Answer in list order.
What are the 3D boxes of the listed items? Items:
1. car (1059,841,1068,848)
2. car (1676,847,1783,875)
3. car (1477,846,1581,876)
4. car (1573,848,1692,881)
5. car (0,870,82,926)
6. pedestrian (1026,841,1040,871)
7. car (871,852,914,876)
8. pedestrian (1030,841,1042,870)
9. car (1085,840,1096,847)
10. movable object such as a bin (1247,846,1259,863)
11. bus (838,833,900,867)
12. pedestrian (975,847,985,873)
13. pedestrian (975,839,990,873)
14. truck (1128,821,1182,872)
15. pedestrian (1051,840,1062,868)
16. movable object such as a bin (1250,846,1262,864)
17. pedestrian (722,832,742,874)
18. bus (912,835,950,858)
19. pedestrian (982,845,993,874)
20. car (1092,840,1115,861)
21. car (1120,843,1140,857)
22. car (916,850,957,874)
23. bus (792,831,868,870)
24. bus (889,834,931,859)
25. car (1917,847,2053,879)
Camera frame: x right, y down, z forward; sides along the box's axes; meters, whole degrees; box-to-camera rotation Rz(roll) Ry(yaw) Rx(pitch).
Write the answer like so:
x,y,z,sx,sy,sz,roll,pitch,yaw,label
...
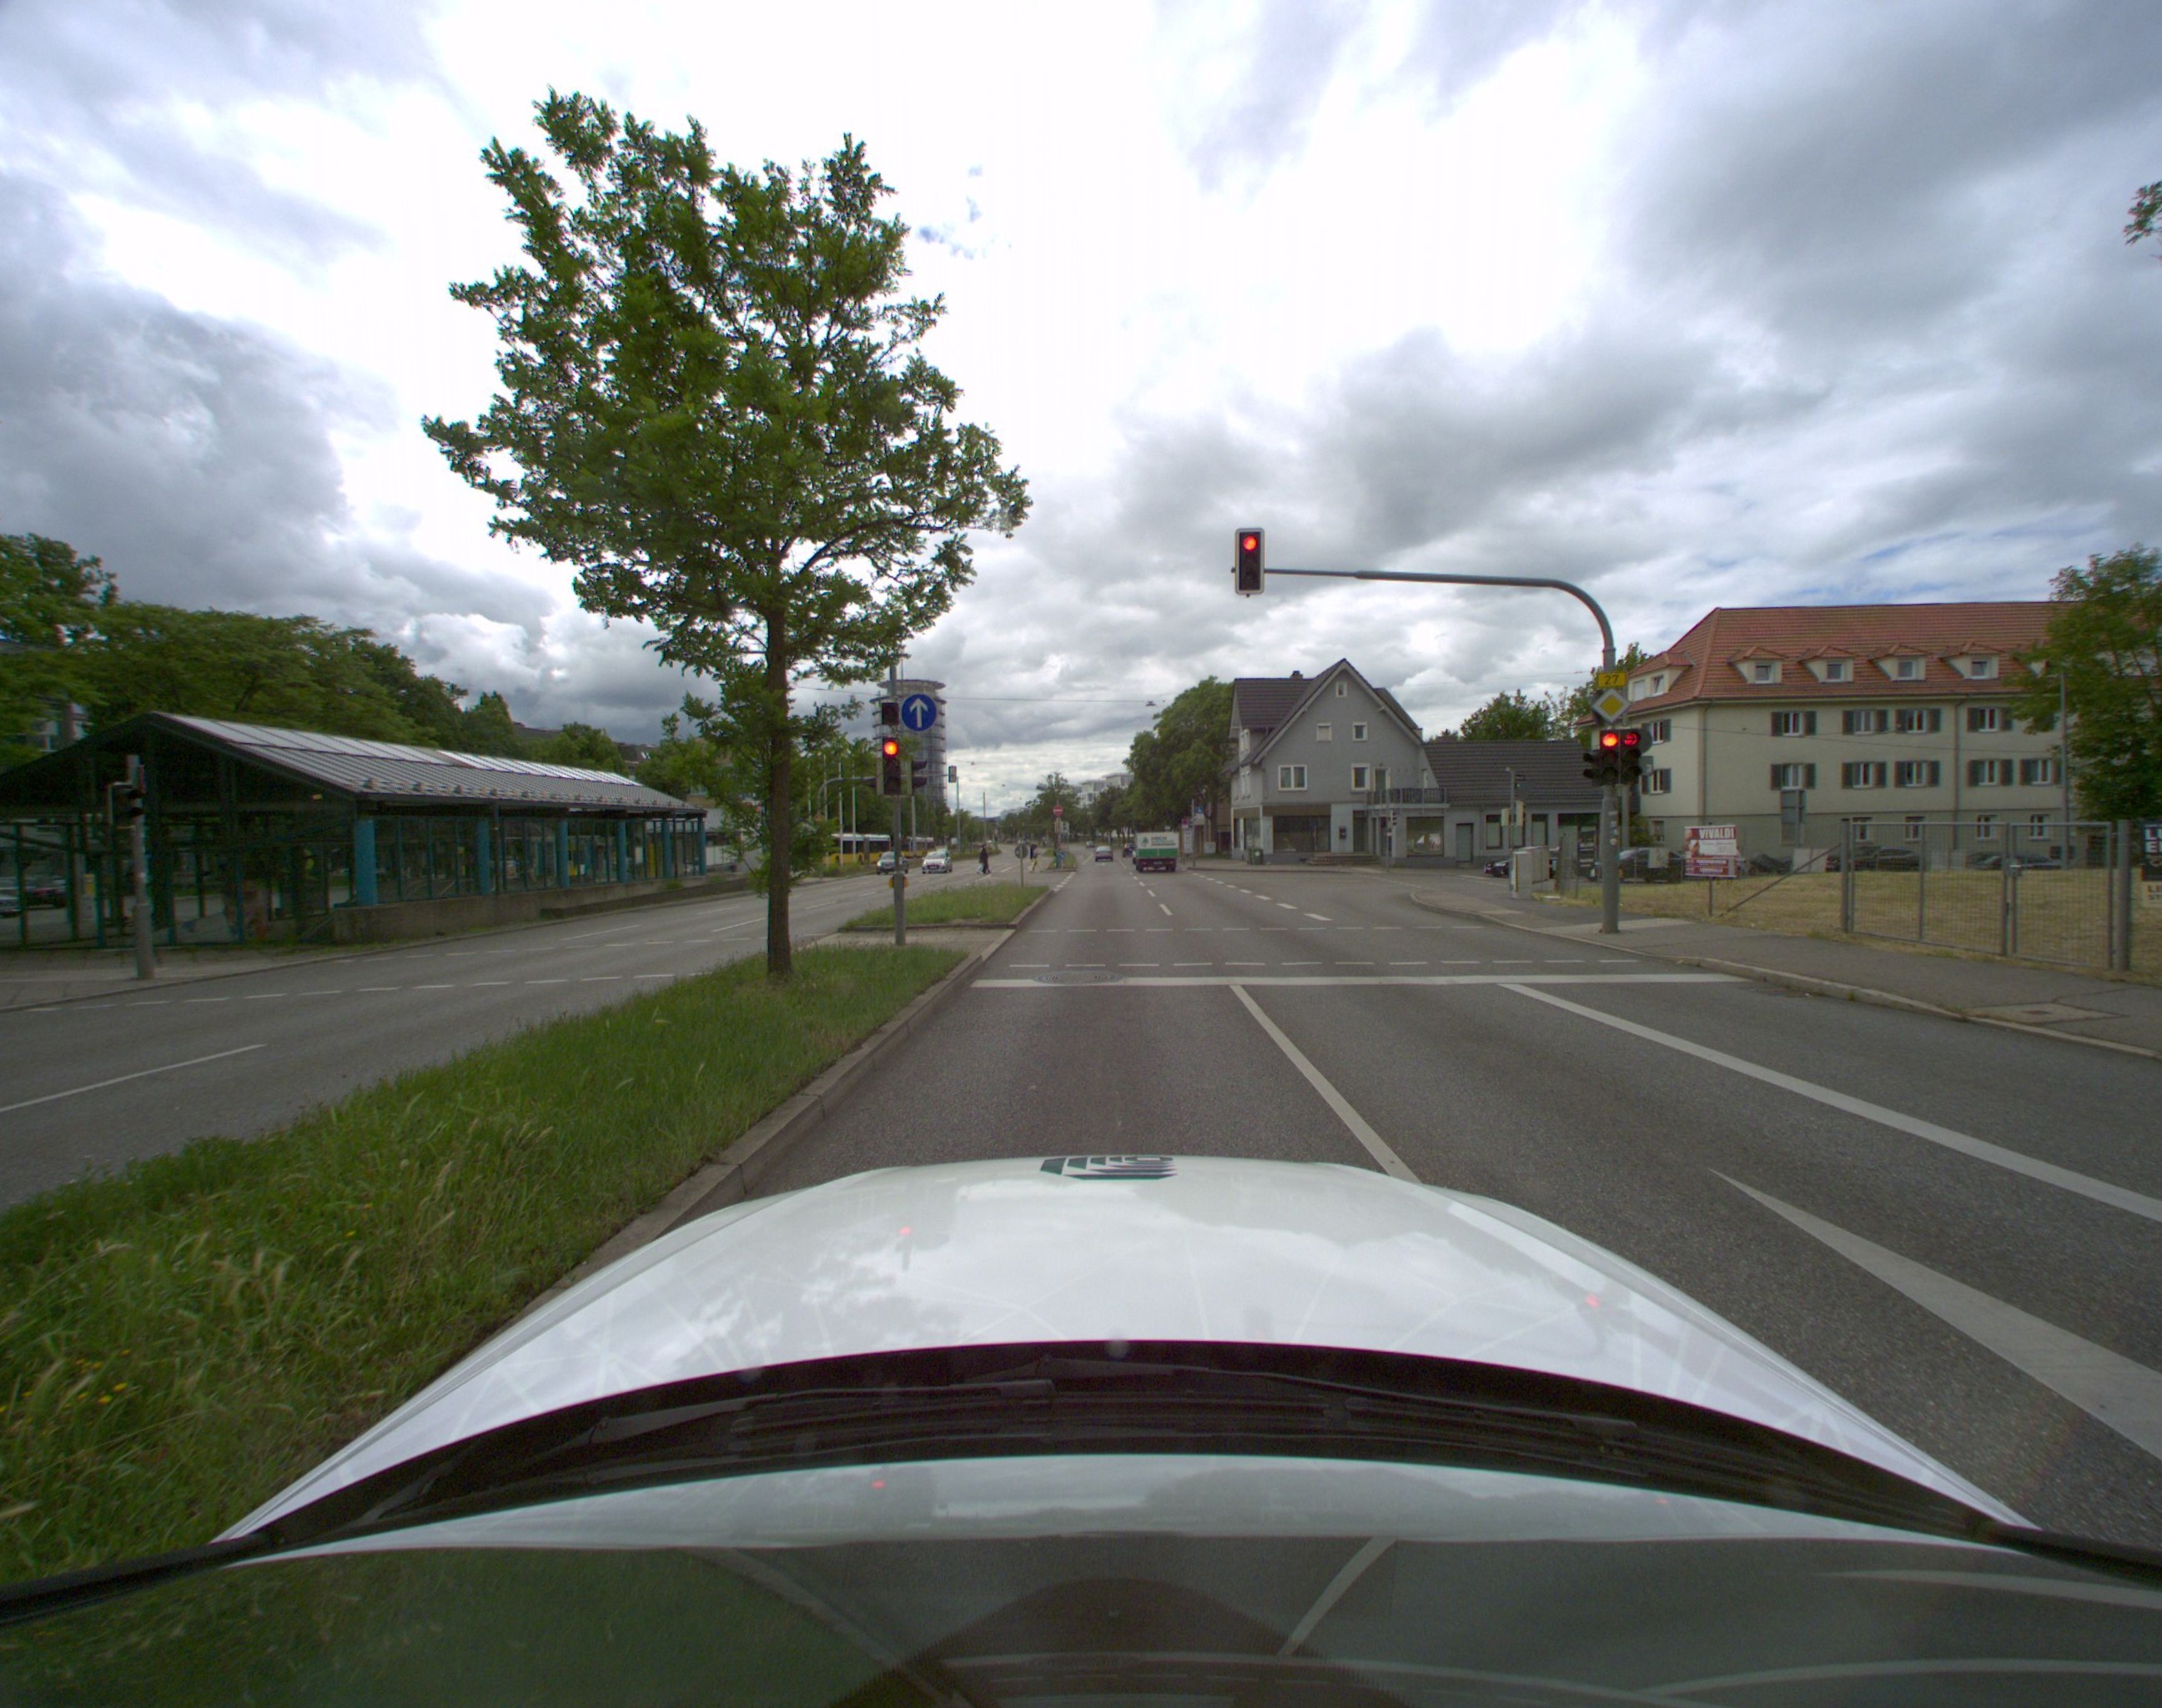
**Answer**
x,y,z,sx,sy,sz,roll,pitch,yaw,label
-3.922,-2.133,181.330,1.988,1.519,3.998,-2,1,-2,car
33.189,0.353,41.782,4.075,1.371,1.800,0,0,0,car
21.663,0.338,39.454,4.075,1.371,1.800,0,0,0,car
24.275,0.452,35.955,4.075,1.371,1.800,0,0,0,car
-38.116,1.550,28.323,3.979,1.837,1.998,-2,0,-4,car
-2.891,0.114,48.818,0.744,1.716,0.582,-2,0,-5,pedestrian
-13.053,0.671,56.545,1.987,1.486,4.000,-2,0,1,car
-2.687,0.094,48.227,0.652,1.716,0.451,-2,0,-5,pedestrian
2.062,-2.254,178.381,1.992,1.552,3.990,-2,1,-7,car
10.401,0.022,49.203,0.613,1.043,0.590,0,0,3,movable object such as a bin
-22.705,-0.438,88.040,2.817,3.430,10.752,-2,0,6,bus
-6.044,0.360,48.660,0.542,1.496,0.486,-2,0,-6,pedestrian
-5.793,0.114,47.872,0.828,2.013,0.545,-2,0,-5,pedestrian
4.058,-0.484,45.803,2.462,2.611,6.548,0,2,0,truck
-1.515,0.002,50.178,0.582,1.716,0.545,-2,0,-5,pedestrian
10.413,0.070,48.453,0.602,1.059,0.590,0,0,3,movable object such as a bin
-16.972,-0.063,39.627,0.679,2.013,0.645,-2,0,-3,pedestrian
-23.900,-1.236,130.449,2.817,3.430,10.752,-2,0,6,bus
-5.650,0.312,49.431,0.611,1.716,0.545,-2,0,-5,pedestrian
2.053,-0.345,74.764,1.986,1.830,4.002,-2,1,2,car
5.334,-0.436,88.948,1.986,1.552,4.002,0,1,2,car
-9.898,0.520,56.079,1.987,1.486,4.000,-2,0,1,car
-23.774,-0.352,77.912,2.817,3.430,10.752,-2,0,6,bus
-25.025,-1.039,119.731,2.817,3.430,10.752,-2,0,6,bus
40.224,0.383,36.304,4.075,1.371,1.800,0,0,0,car
